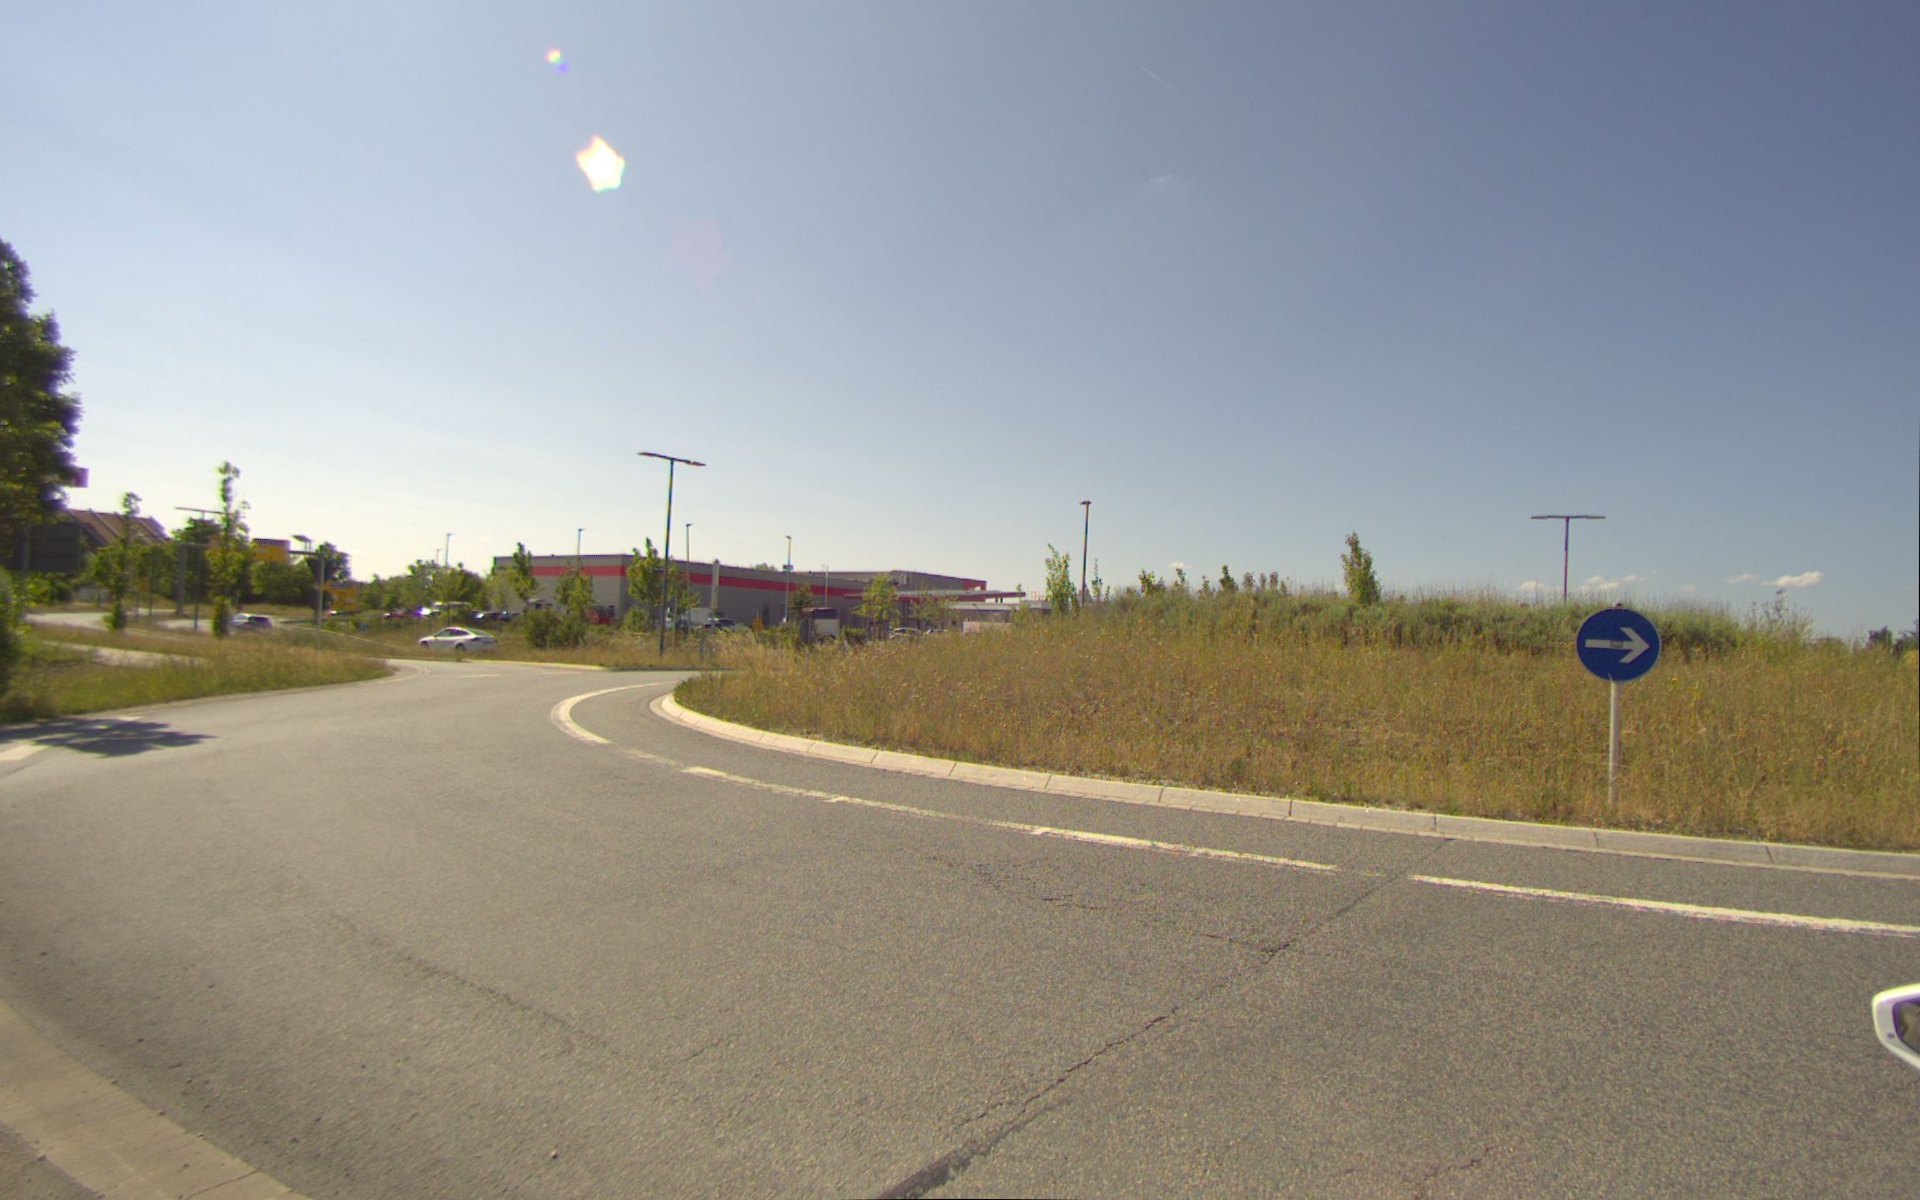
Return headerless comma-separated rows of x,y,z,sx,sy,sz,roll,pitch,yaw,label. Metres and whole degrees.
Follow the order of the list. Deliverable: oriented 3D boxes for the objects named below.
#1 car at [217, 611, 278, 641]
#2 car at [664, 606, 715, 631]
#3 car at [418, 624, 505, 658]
-47.693,1.738,67.231,3.697,1.795,1.691,1,-2,25,car
-24.040,1.679,89.385,1.967,2.040,3.988,1,-2,35,car
-26.501,2.151,53.413,4.194,1.594,1.727,2,-2,22,car
